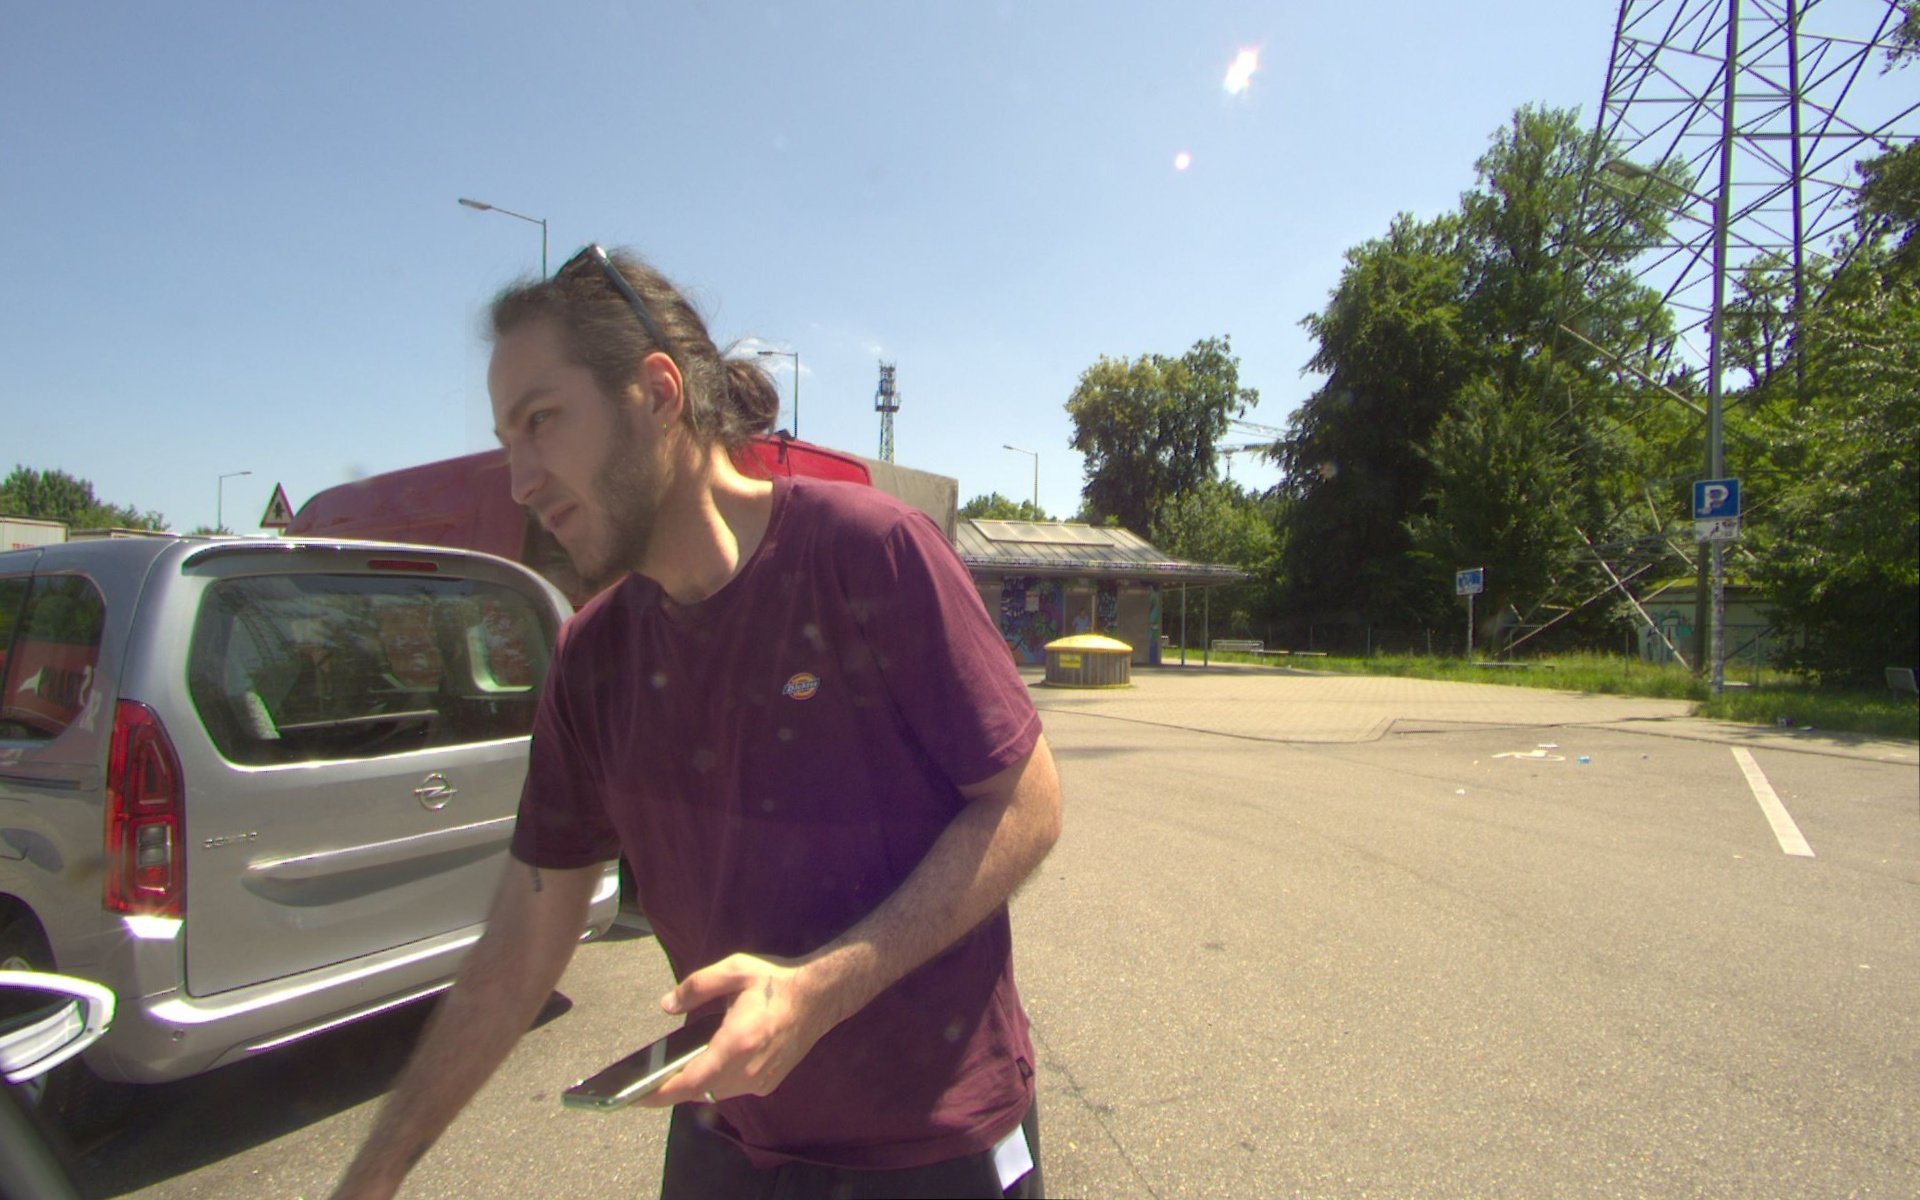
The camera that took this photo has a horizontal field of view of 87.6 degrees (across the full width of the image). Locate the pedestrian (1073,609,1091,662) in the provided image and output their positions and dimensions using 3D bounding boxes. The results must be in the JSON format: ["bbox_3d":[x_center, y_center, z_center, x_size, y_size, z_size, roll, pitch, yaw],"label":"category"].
[{"bbox_3d":[3.596,1.043,29.529,0.453,1.535,0.375,1,0,-2],"label":"pedestrian"}]

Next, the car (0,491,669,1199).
[{"bbox_3d":[-3.345,0.636,4.210,3.938,1.776,1.824,0,-1,29],"label":"car"}]

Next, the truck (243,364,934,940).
[{"bbox_3d":[-2.859,0.261,6.995,5.233,2.658,1.987,0,-1,37],"label":"truck"}]

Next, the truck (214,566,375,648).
[{"bbox_3d":[-30.704,0.322,46.071,8.407,3.482,3.019,0,-1,33],"label":"truck"}]

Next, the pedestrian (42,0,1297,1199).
[{"bbox_3d":[-0.211,0.456,1.034,0.926,1.798,0.827,1,0,28],"label":"pedestrian"}]

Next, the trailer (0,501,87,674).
[{"bbox_3d":[-28.792,-0.326,28.029,13.374,4.178,2.871,0,-1,33],"label":"trailer"}]

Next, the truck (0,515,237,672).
[{"bbox_3d":[-27.987,-0.129,31.783,14.316,4.175,2.901,0,-3,33],"label":"truck"}]
